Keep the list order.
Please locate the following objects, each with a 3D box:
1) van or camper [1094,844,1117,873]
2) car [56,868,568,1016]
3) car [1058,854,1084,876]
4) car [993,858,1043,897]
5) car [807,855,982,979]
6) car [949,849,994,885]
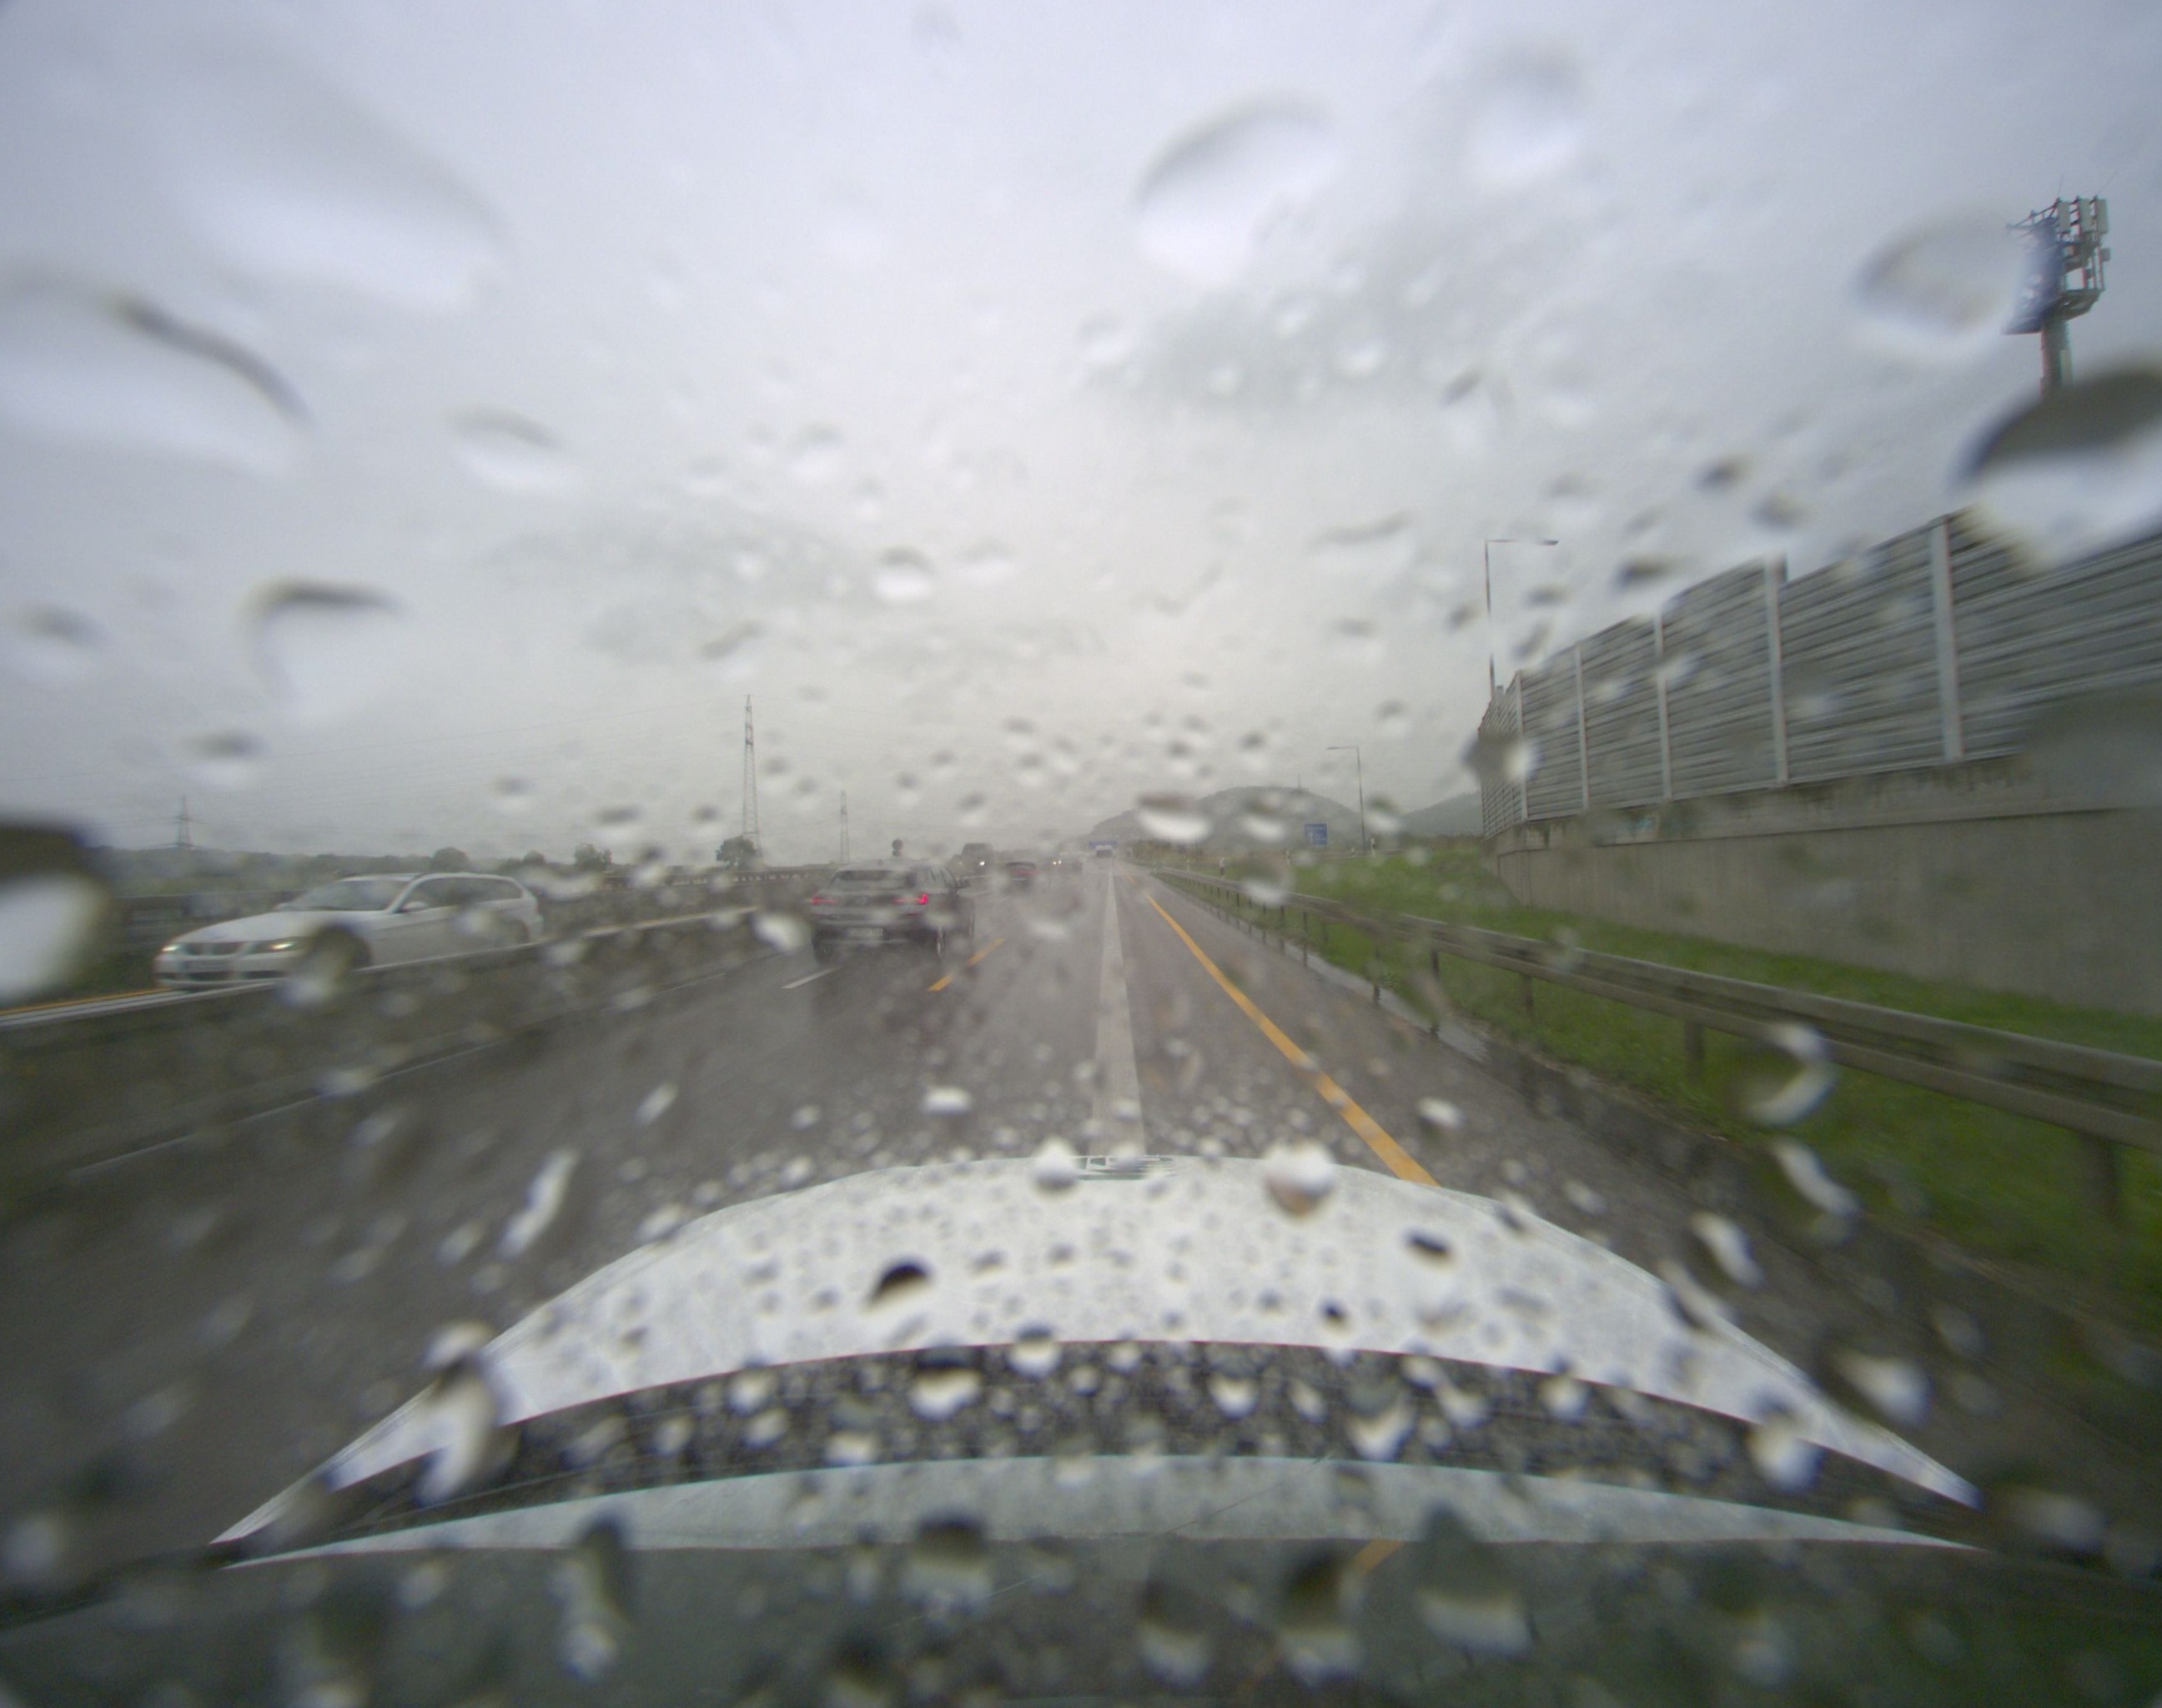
[{"bbox_3d":[2.416,0.526,81.298,1.991,2.778,4.046,-1,-2,-2],"label":"van or camper"},{"bbox_3d":[-9.694,0.964,11.163,1.721,1.437,5.440,-1,0,2],"label":"car"},{"bbox_3d":[-0.774,0.803,62.310,1.839,1.491,4.259,-4,0,-1],"label":"car"},{"bbox_3d":[-2.538,0.980,33.692,1.839,1.491,4.257,-1,-2,-2],"label":"car"},{"bbox_3d":[-2.751,0.896,13.168,1.695,1.598,4.844,-1,-2,0],"label":"car"},{"bbox_3d":[-8.308,0.943,62.555,2.061,2.517,6.182,-3,-1,4],"label":"car"}]
